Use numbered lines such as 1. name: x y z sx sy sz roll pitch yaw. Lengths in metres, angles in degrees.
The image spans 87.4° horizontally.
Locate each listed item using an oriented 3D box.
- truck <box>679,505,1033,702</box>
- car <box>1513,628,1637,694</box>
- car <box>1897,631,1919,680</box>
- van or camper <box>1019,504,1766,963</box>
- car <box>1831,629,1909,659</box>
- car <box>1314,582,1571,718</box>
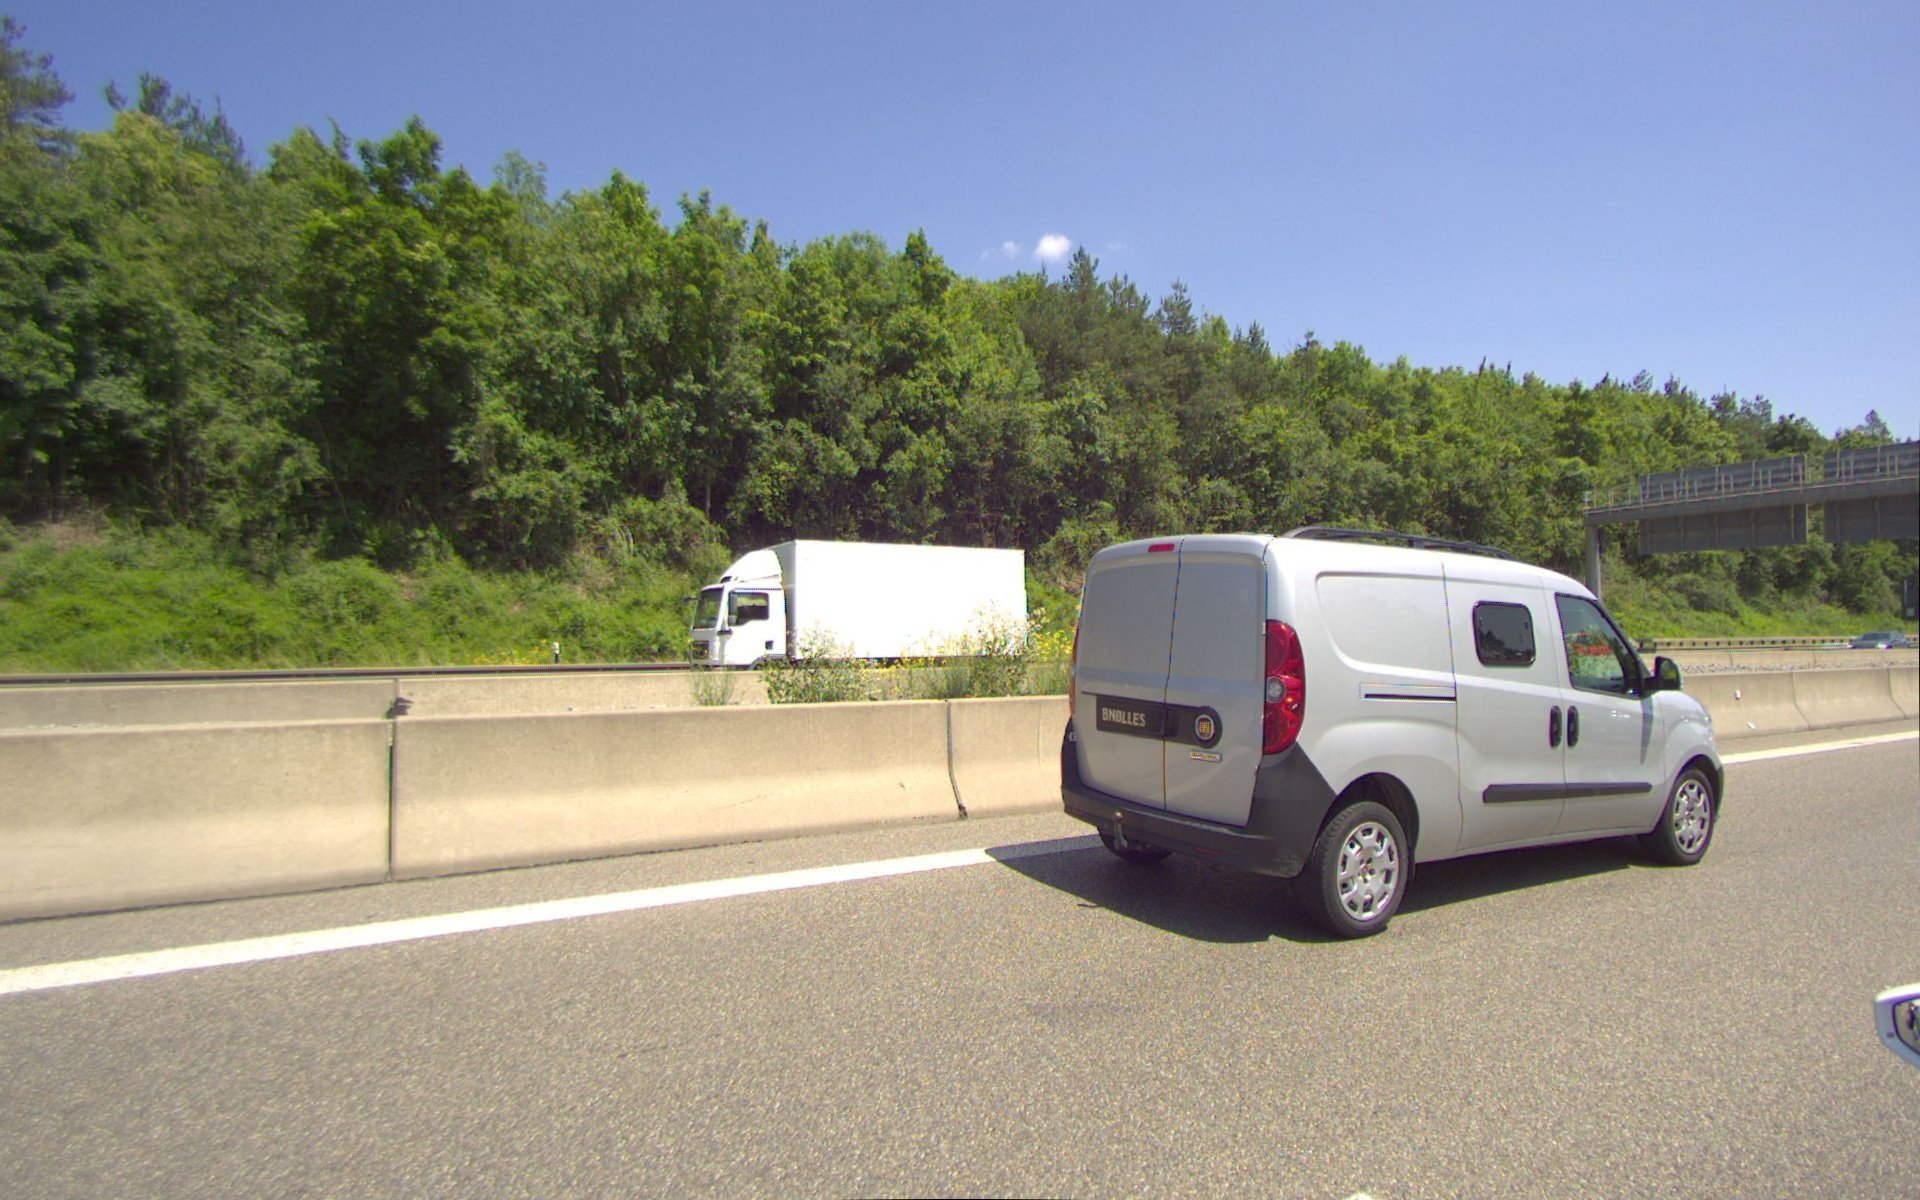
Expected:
1. truck: -2.312 0.215 23.835 7.898 4.042 2.679 2 -1 -31
2. car: 20.731 2.039 33.851 3.955 2.040 1.983 2 -1 -32
3. car: 41.551 2.380 42.329 3.953 2.040 1.945 2 -1 -30
4. van or camper: 2.754 0.607 6.111 4.507 1.905 1.844 2 0 -30
5. car: 48.877 2.373 53.928 3.953 1.466 1.984 2 -1 -30
6. car: 8.109 0.817 16.855 3.953 2.040 1.984 2 -1 -30
